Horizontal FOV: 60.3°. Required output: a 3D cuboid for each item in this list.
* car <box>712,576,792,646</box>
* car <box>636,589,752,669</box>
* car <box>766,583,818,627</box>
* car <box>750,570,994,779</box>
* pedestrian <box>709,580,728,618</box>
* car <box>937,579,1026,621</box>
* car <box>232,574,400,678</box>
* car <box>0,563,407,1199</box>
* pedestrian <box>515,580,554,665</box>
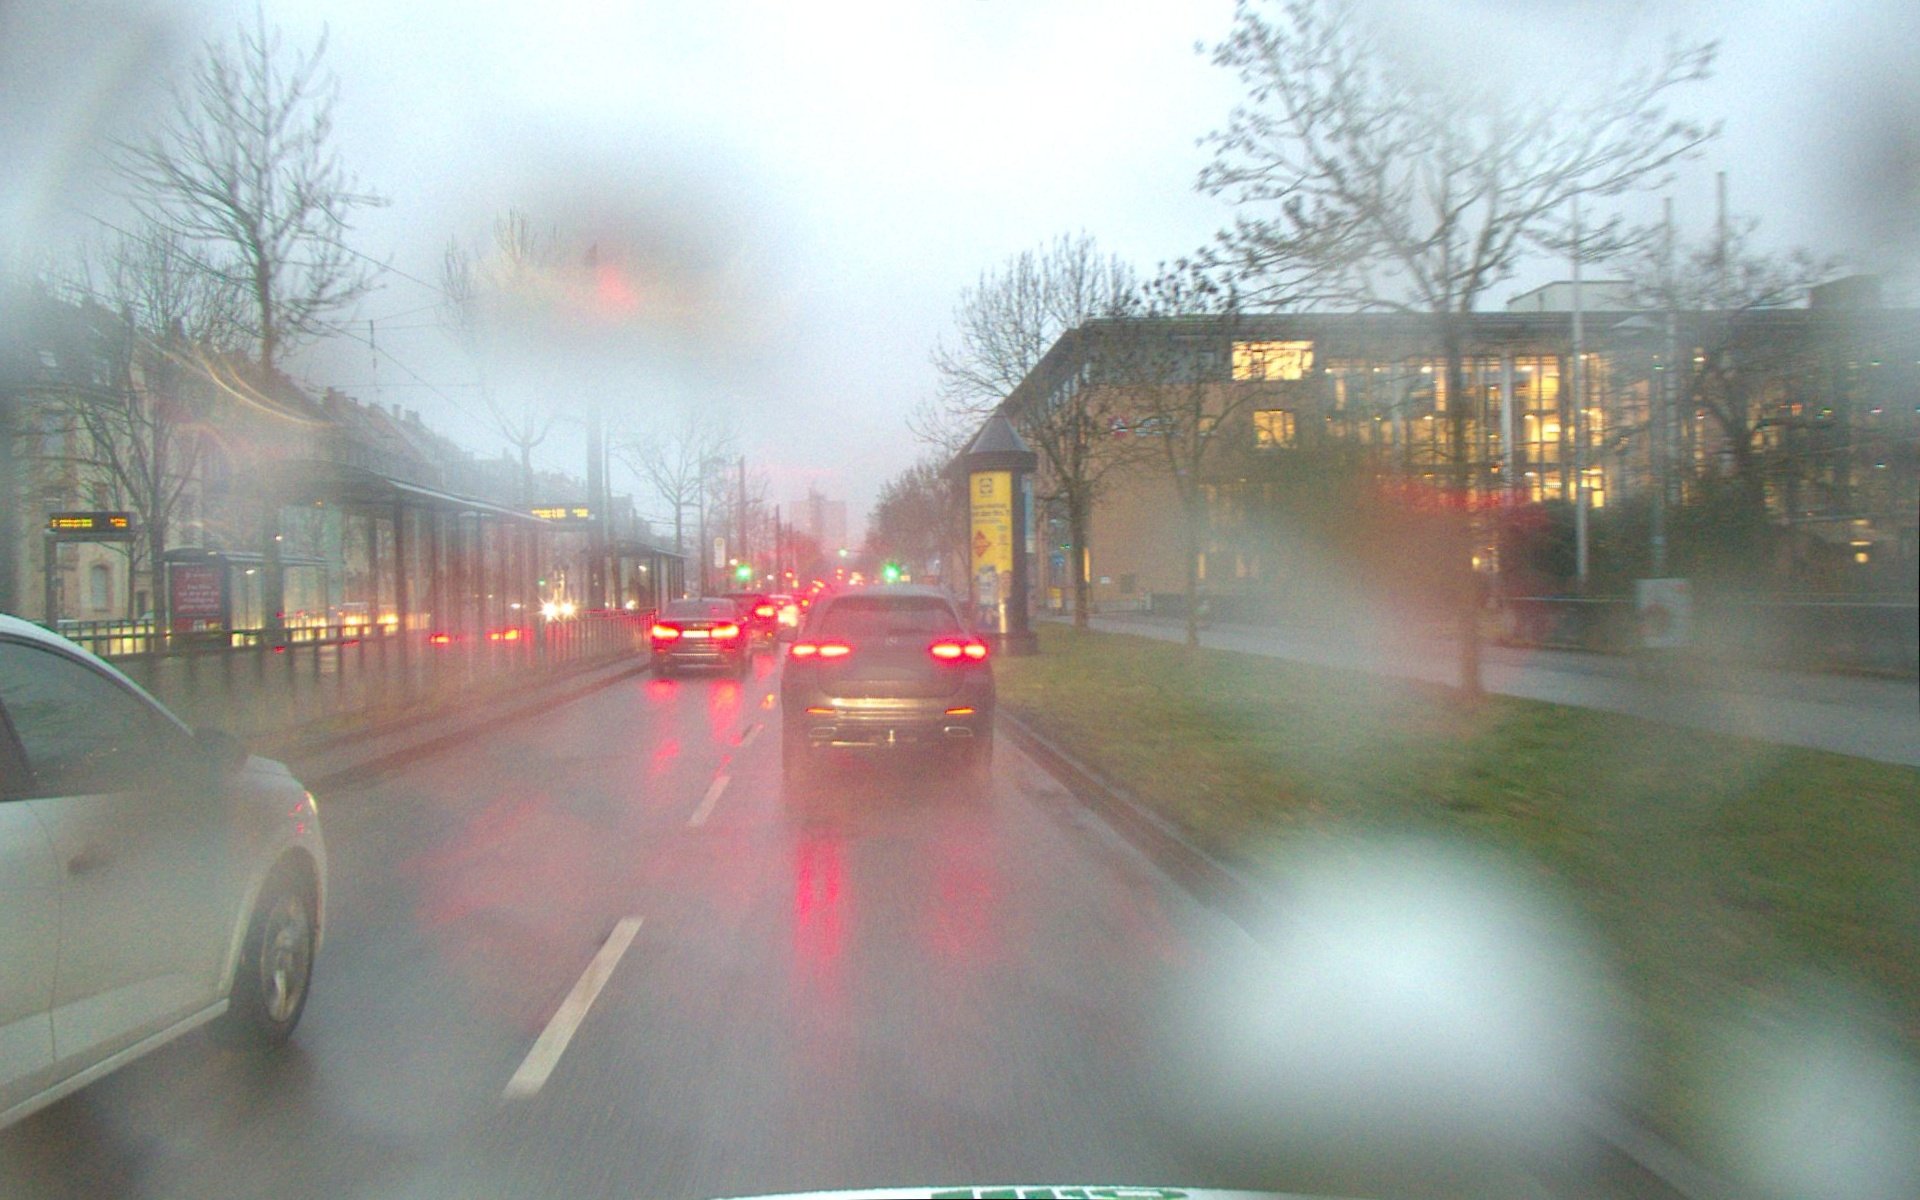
[{"bbox_3d":[-5.718,0.261,45.870,1.954,1.796,3.997,-2,1,-4],"label":"car"},{"bbox_3d":[-5.251,0.532,33.116,1.955,1.422,3.996,-2,1,-5],"label":"car"},{"bbox_3d":[-6.822,0.180,67.440,1.955,1.646,3.996,-2,1,-5],"label":"car"},{"bbox_3d":[-0.835,0.583,15.561,1.951,1.644,3.997,-2,1,-4],"label":"car"},{"bbox_3d":[-10.242,-0.047,70.110,0.685,1.579,0.668,-2,0,-4],"label":"pedestrian"},{"bbox_3d":[0.924,-0.002,73.617,3.784,1.587,1.764,-4,1,-3],"label":"car"},{"bbox_3d":[-12.718,0.464,32.925,1.955,1.854,3.996,-2,1,-4],"label":"car"},{"bbox_3d":[-2.895,0.691,4.128,1.593,1.513,4.001,-2,1,1],"label":"car"},{"bbox_3d":[-8.237,0.431,32.068,0.698,1.634,0.744,0,0,-13],"label":"pedestrian"}]
